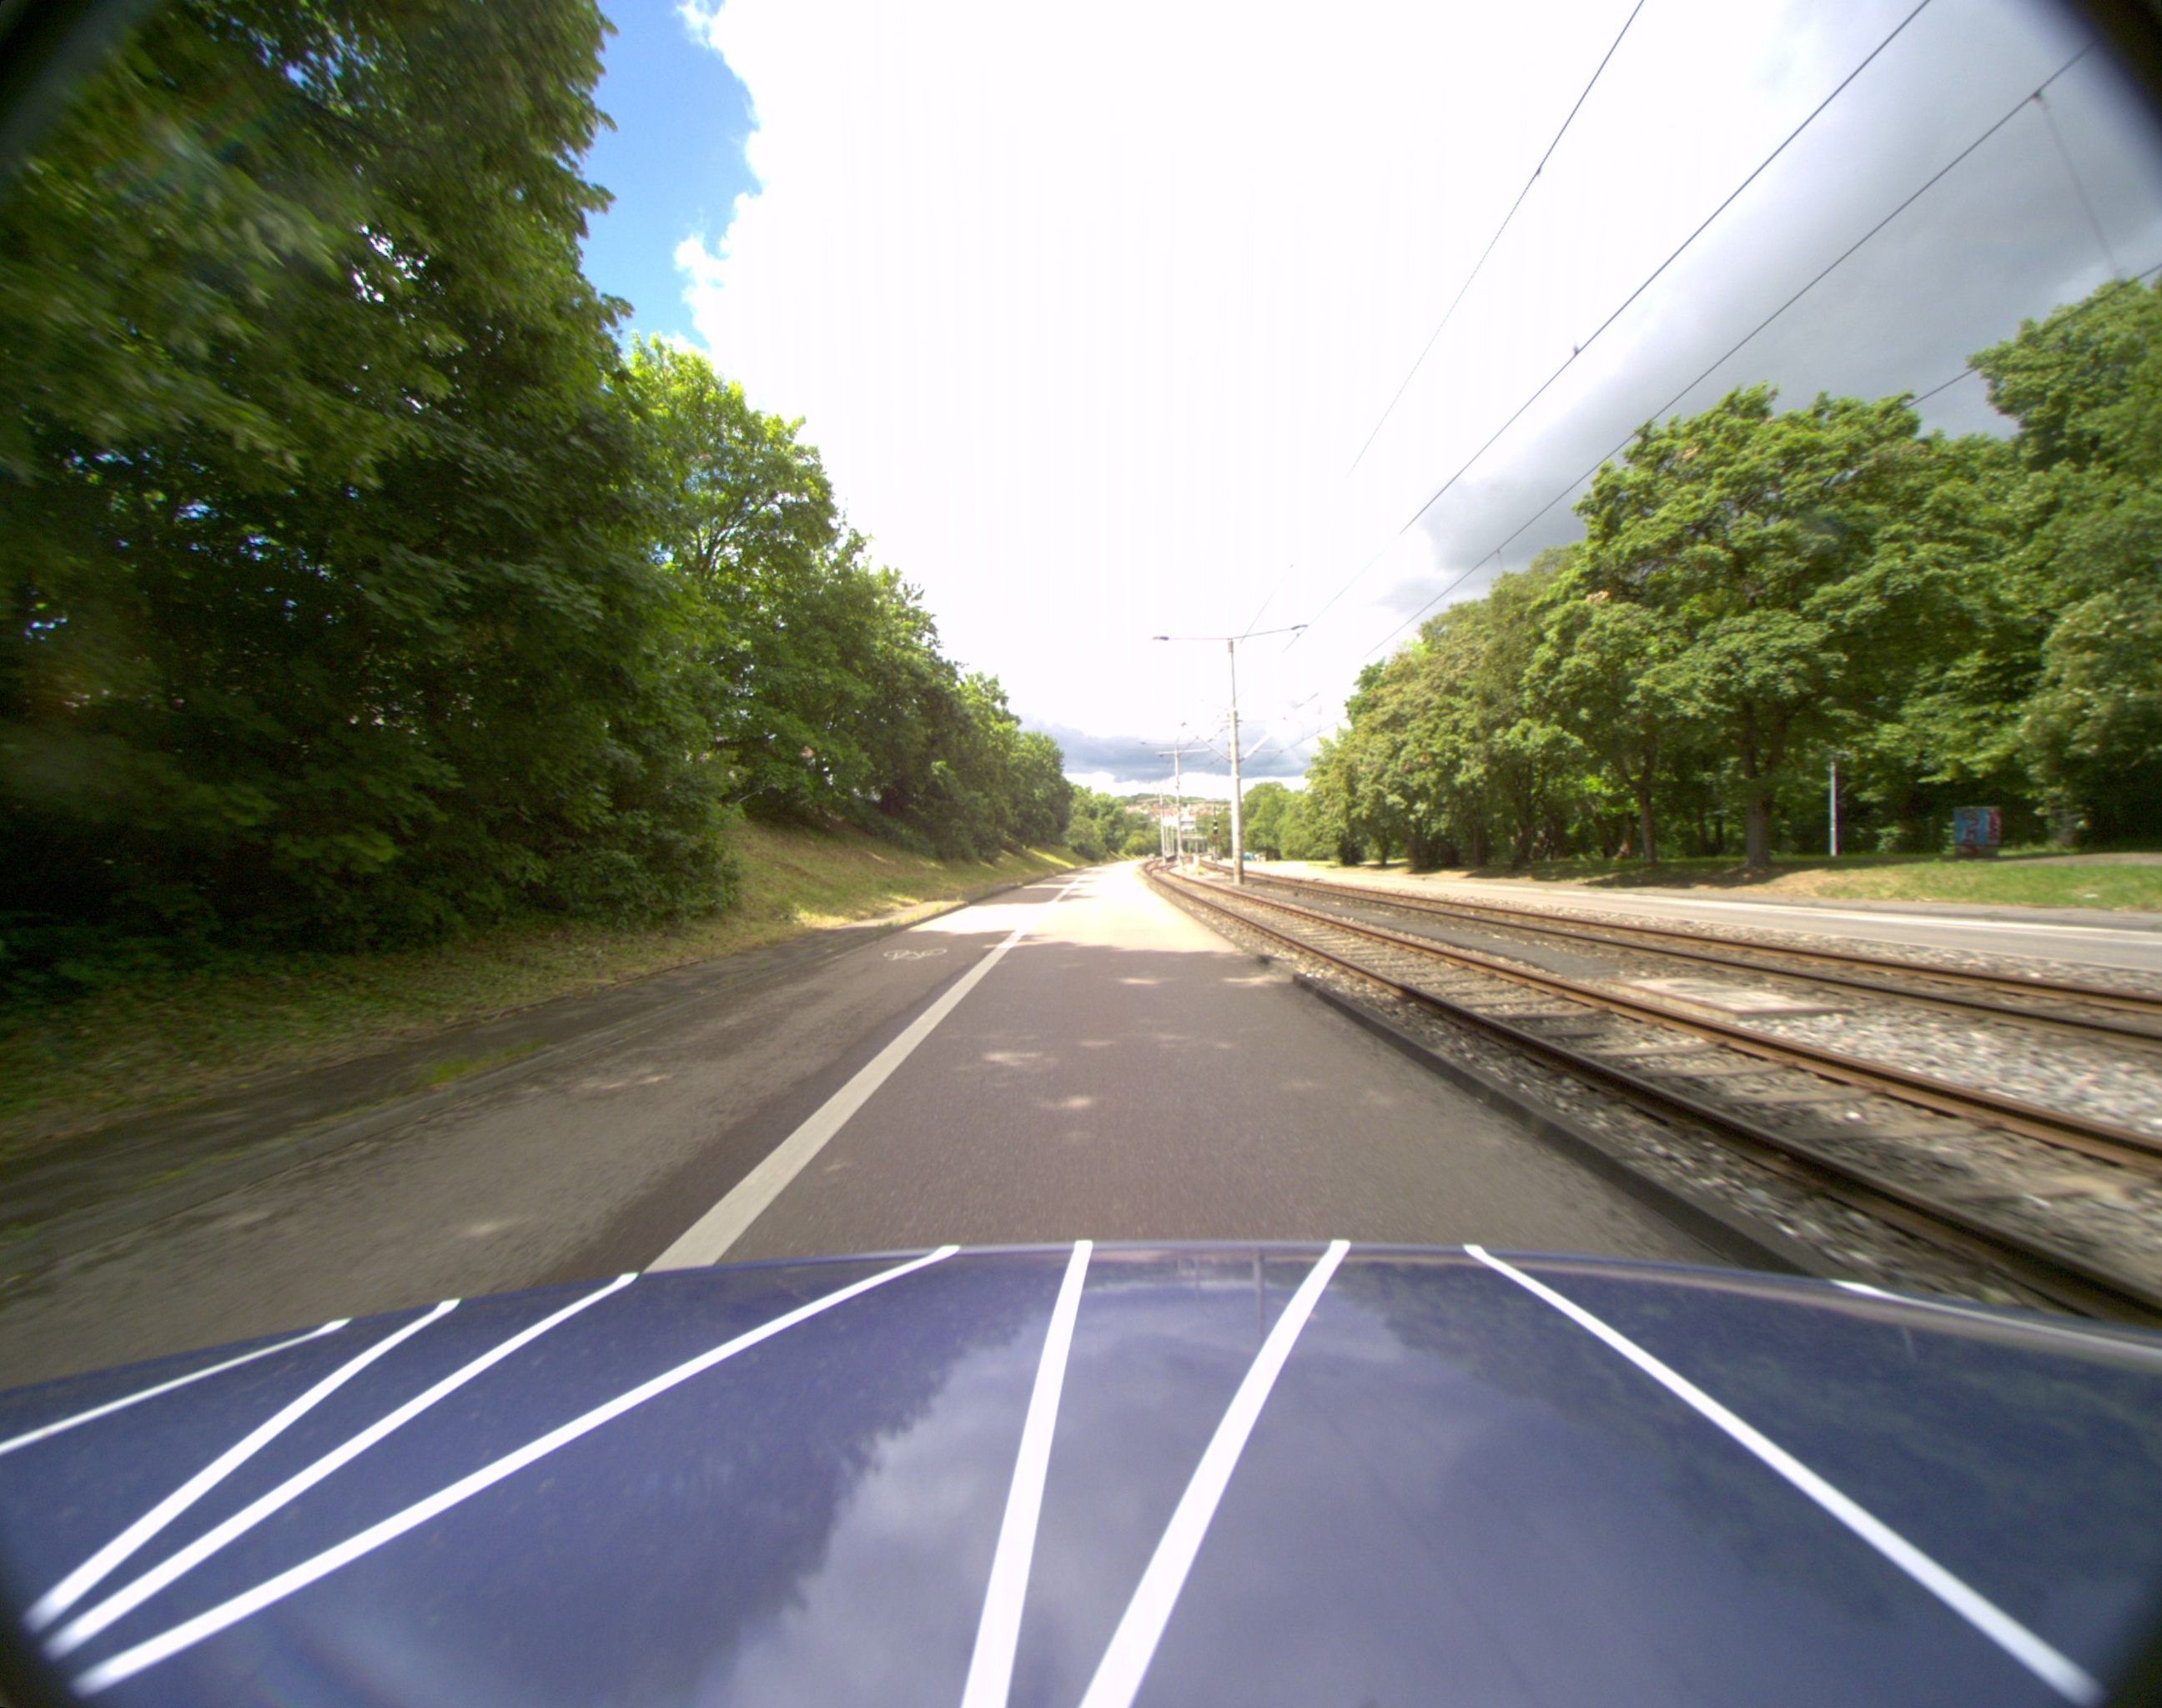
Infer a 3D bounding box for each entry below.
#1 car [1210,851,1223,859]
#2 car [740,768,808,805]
[{"bbox_3d":[24.836,0.167,139.124,1.839,1.383,4.863,0,0,5],"label":"car"},{"bbox_3d":[-15.646,-3.421,38.982,1.779,1.490,3.997,-2,0,0],"label":"car"}]
